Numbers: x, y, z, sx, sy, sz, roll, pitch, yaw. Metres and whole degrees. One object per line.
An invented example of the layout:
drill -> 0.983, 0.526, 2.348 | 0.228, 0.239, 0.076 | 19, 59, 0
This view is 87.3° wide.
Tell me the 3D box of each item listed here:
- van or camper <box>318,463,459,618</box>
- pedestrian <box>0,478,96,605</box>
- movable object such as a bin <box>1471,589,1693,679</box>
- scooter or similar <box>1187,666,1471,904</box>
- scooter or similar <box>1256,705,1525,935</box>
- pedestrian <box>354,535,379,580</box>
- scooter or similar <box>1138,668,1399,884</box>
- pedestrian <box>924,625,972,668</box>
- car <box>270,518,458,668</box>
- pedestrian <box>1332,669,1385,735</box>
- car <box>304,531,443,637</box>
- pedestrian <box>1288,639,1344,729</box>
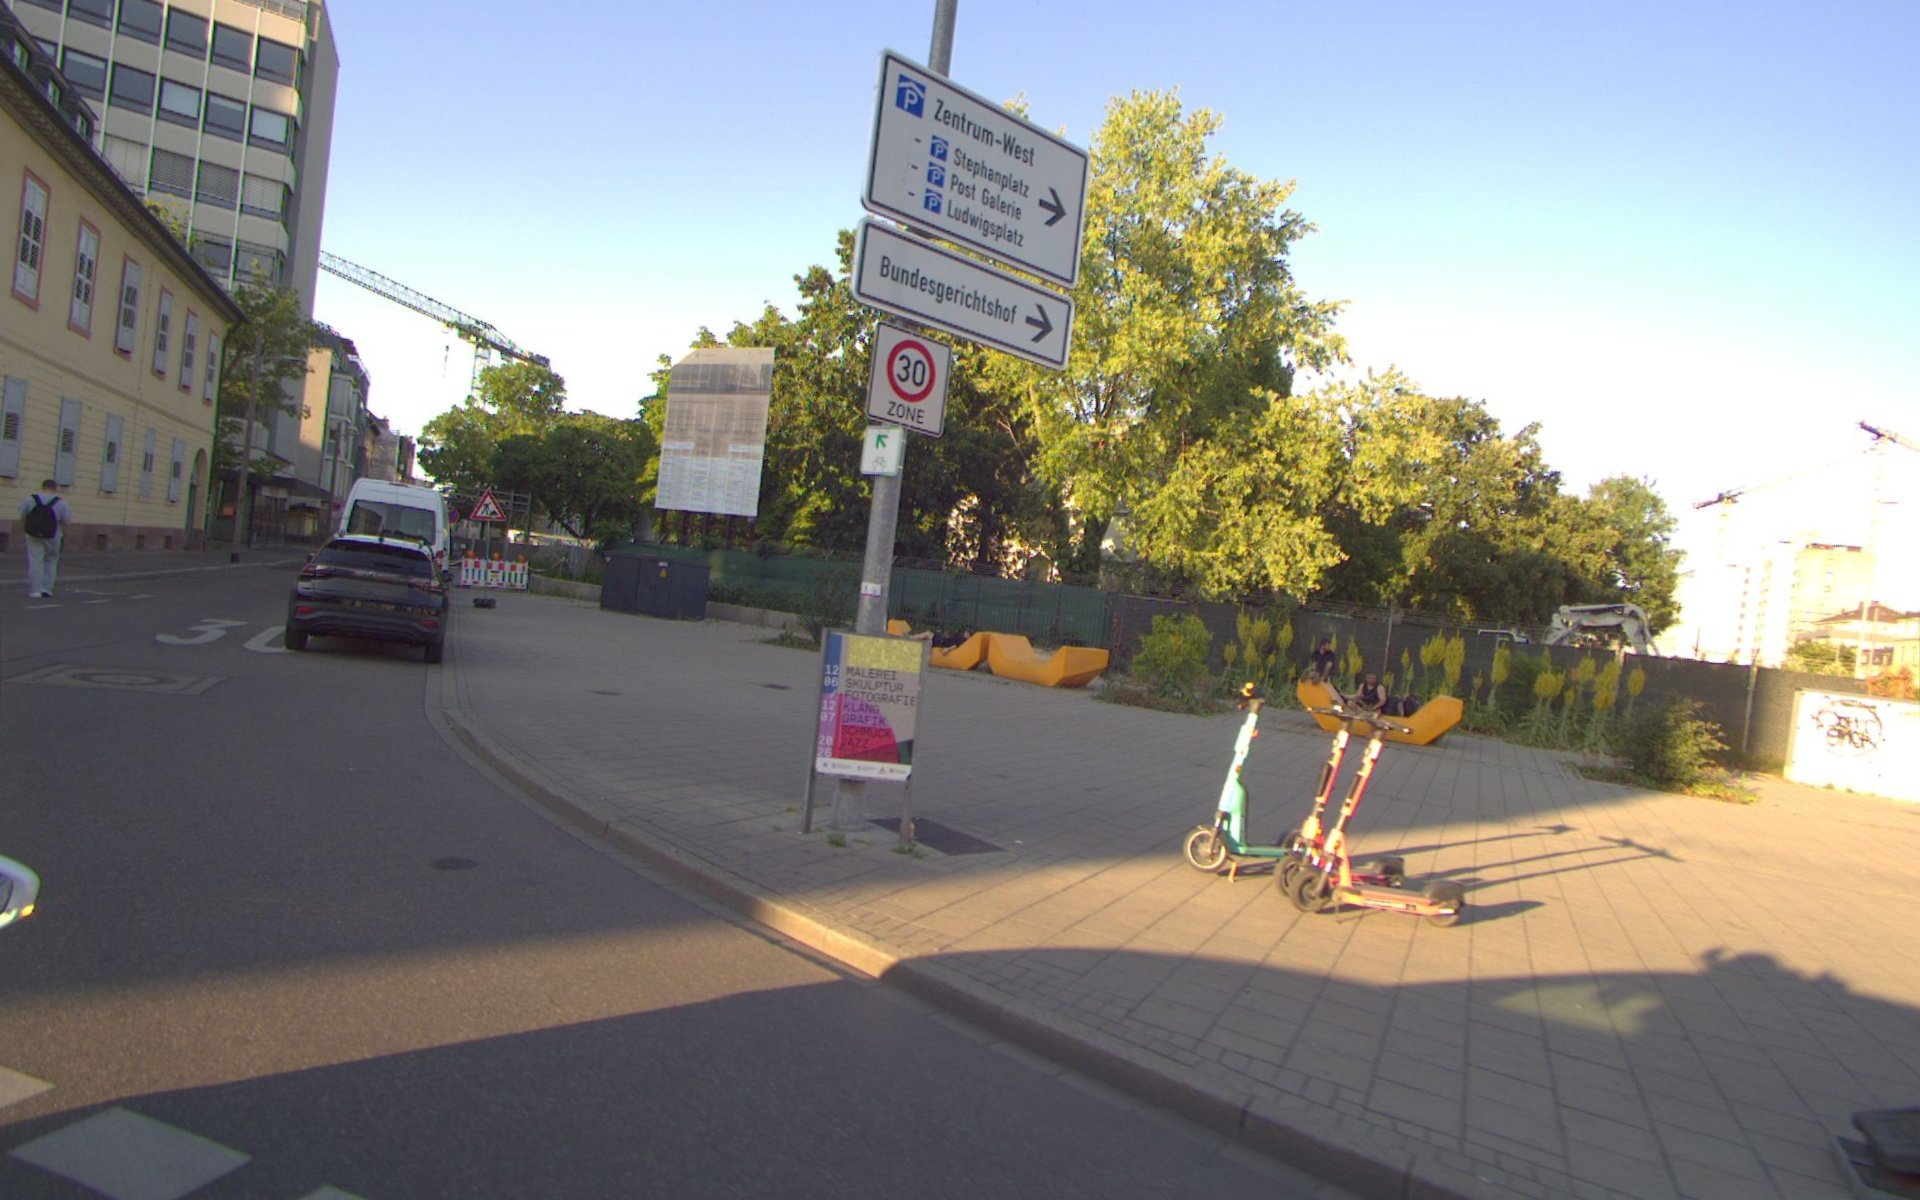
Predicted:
van or camper -> -12.773, -1.286, 22.903 | 2.058, 2.809, 6.409 | 6, 0, -25
pedestrian -> -13.726, -0.865, 15.049 | 0.867, 1.745, 0.825 | 7, 1, -23
movable object such as a bin -> 17.981, 0.925, 29.338 | 1.981, 2.039, 4.977 | 6, 0, -34
scooter or similar -> 2.314, 1.166, 6.289 | 1.630, 1.308, 0.459 | 7, 0, -20
scooter or similar -> 2.495, 1.276, 5.824 | 1.384, 1.181, 0.459 | 7, 1, -21
pedestrian -> -22.971, -1.645, 38.957 | 0.607, 1.649, 0.813 | 7, 1, -24
scooter or similar -> 2.084, 1.187, 6.809 | 1.505, 1.276, 0.609 | 6, 1, -20
pedestrian -> -0.289, 1.101, 24.027 | 0.963, 0.904, 0.562 | 7, 1, 9
car -> -7.938, -0.160, 13.633 | 1.764, 1.562, 4.259 | 7, 0, -29
pedestrian -> 7.884, 2.002, 19.873 | 0.722, 1.172, 0.988 | 7, 0, 30
car -> -10.169, -0.343, 17.714 | 1.714, 1.447, 4.443 | 7, 0, -27
pedestrian -> 7.147, 1.667, 20.178 | 0.751, 1.686, 0.820 | 7, 1, 31
